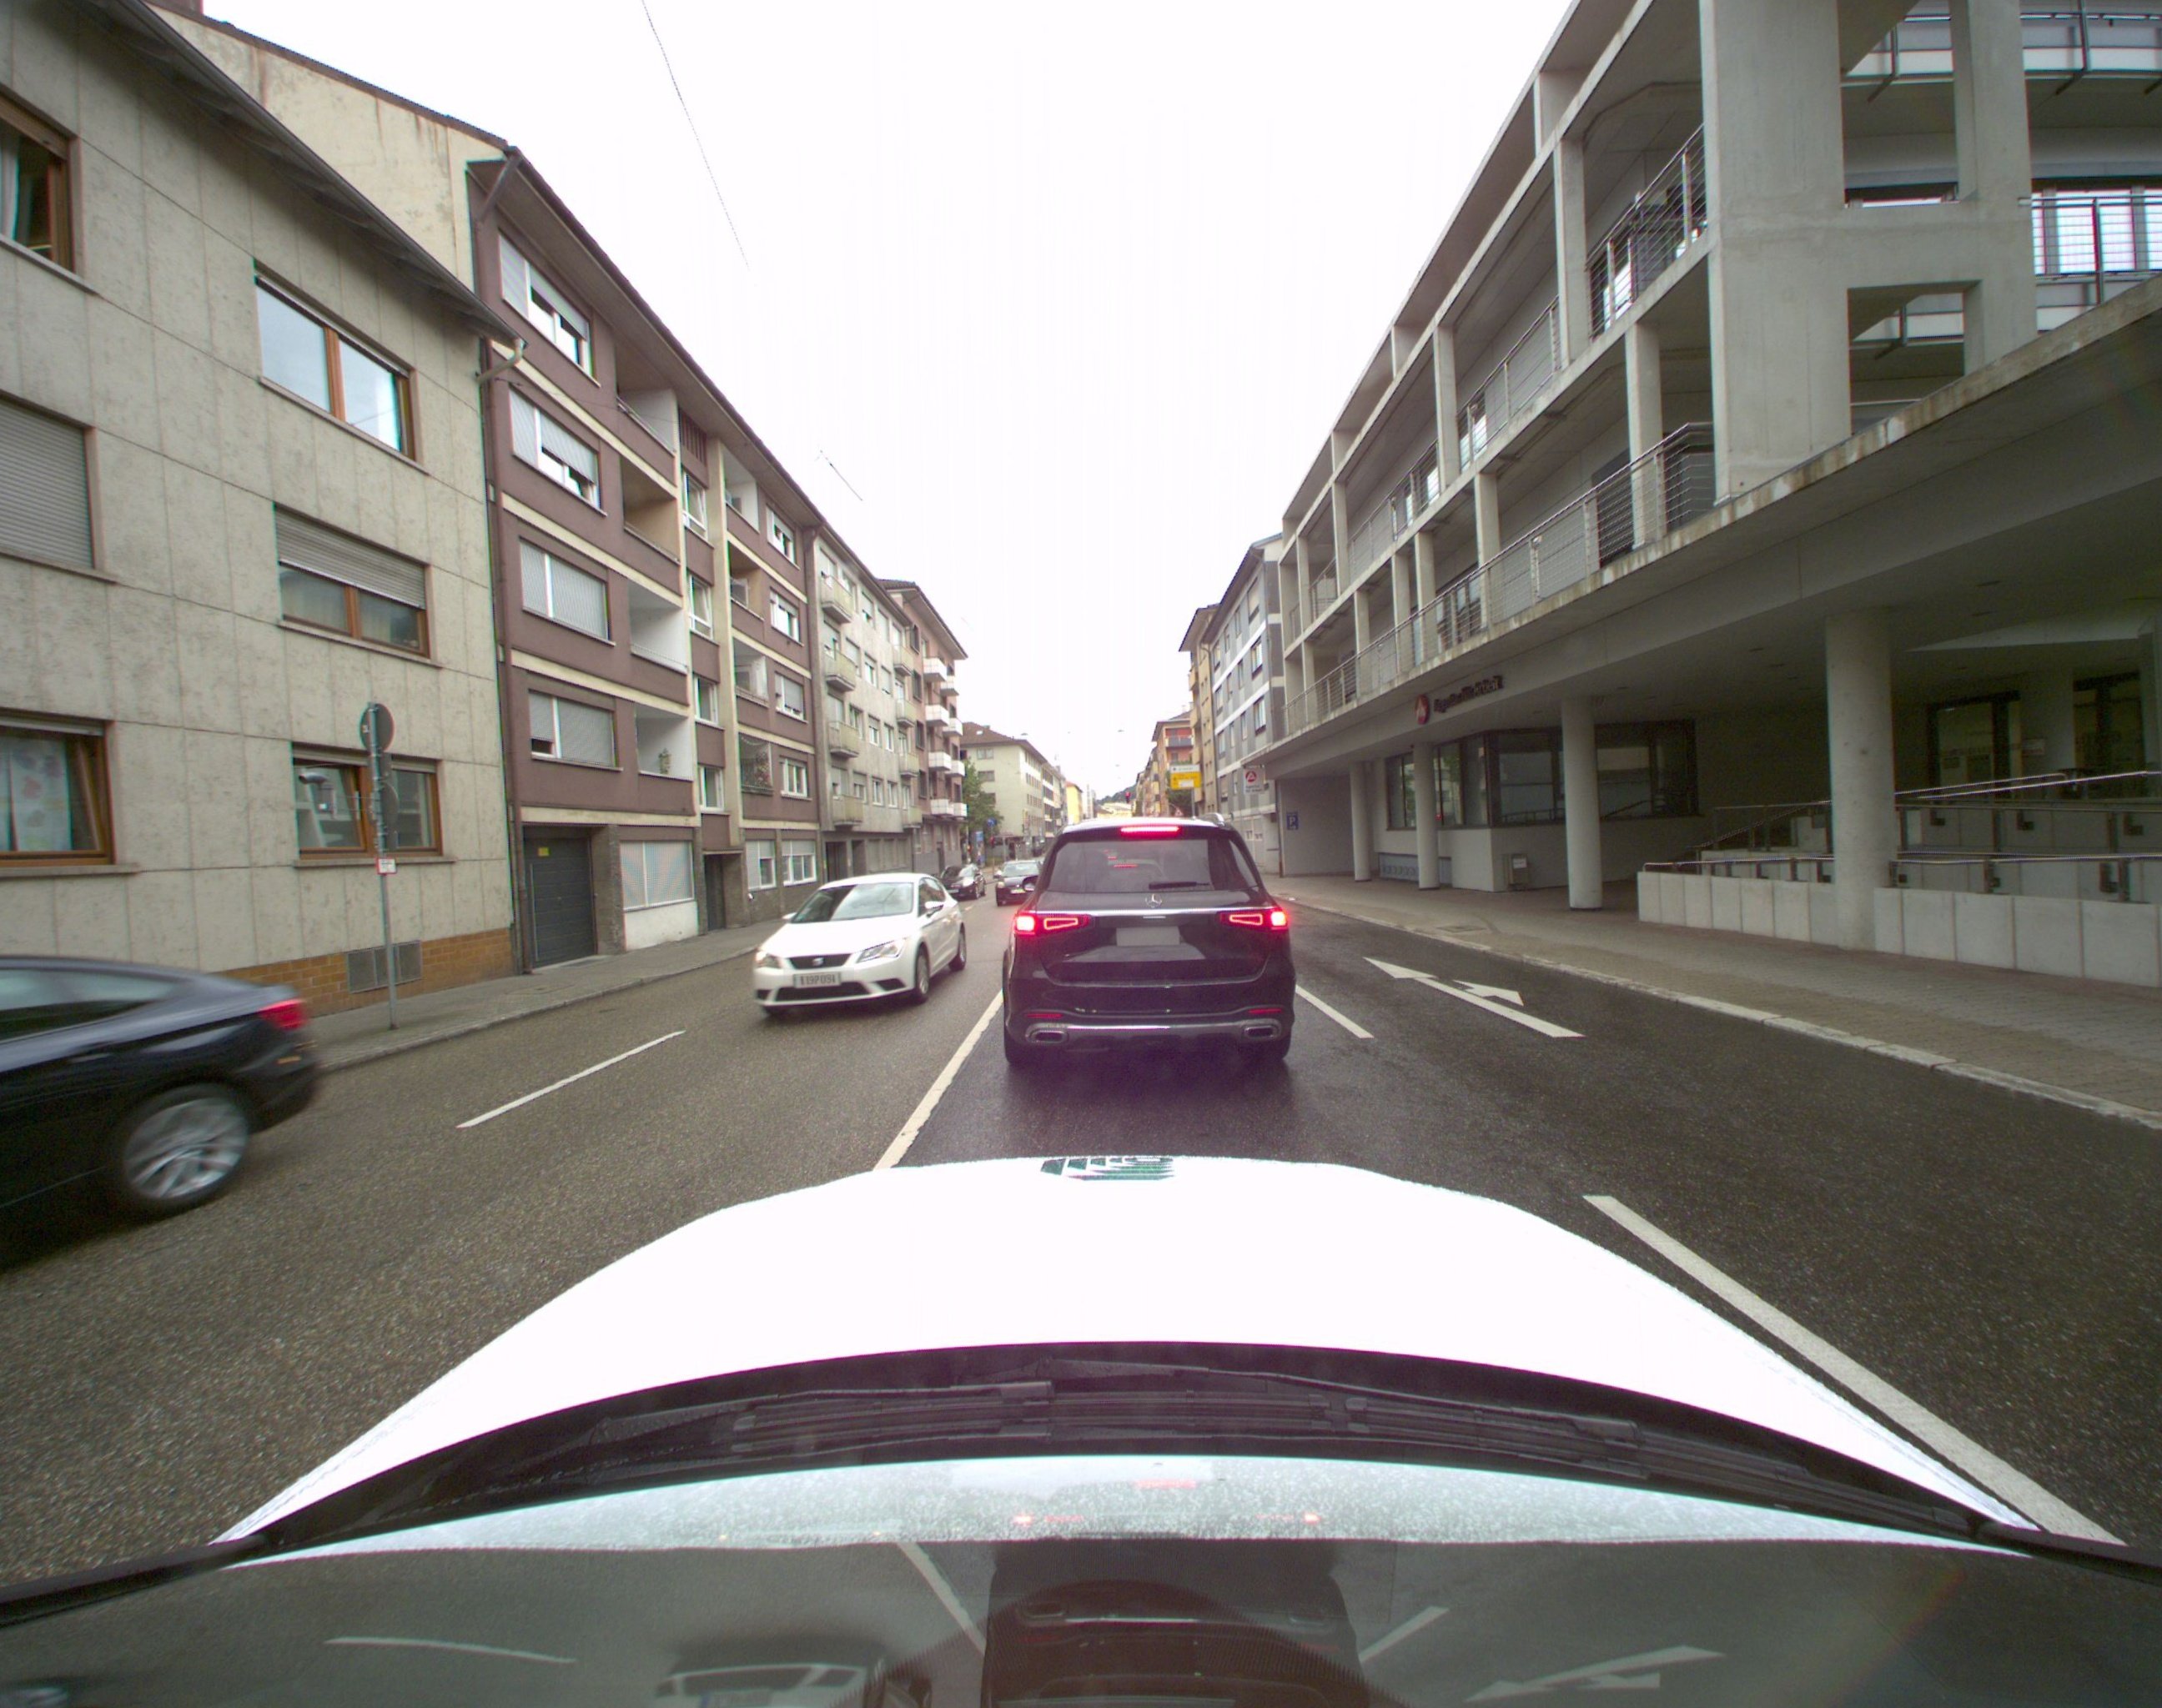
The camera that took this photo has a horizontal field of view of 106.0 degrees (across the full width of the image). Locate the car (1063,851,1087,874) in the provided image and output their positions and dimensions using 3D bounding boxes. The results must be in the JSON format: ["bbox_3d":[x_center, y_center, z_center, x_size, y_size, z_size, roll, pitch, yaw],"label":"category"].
[{"bbox_3d":[-0.464,0.665,64.296,1.689,1.580,4.218,-5,-1,1],"label":"car"}]

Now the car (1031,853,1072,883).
[{"bbox_3d":[-1.500,0.733,42.683,1.688,1.370,4.220,-5,-1,2],"label":"car"}]

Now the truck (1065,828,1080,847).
[{"bbox_3d":[-1.595,-3.141,157.340,2.472,3.046,9.917,-5,-1,0],"label":"truck"}]

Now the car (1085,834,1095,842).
[{"bbox_3d":[1.673,-2.977,154.122,1.879,1.264,4.216,-5,-1,0],"label":"car"}]

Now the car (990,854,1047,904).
[{"bbox_3d":[-2.151,0.846,29.084,1.613,1.539,4.216,-5,-1,0],"label":"car"}]

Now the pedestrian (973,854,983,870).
[{"bbox_3d":[-11.553,0.872,91.175,0.641,1.764,0.764,-3,0,-42],"label":"pedestrian"}]

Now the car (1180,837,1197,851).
[{"bbox_3d":[12.482,-1.156,94.506,1.664,1.588,3.334,-3,0,4],"label":"car"}]

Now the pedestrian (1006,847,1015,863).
[{"bbox_3d":[-8.865,0.090,102.368,0.920,1.902,0.706,-3,0,0],"label":"pedestrian"}]

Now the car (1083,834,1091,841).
[{"bbox_3d":[1.458,-3.916,193.939,1.613,1.539,4.216,-5,-1,0],"label":"car"}]

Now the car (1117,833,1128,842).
[{"bbox_3d":[7.709,-3.083,151.814,1.613,1.539,4.216,-5,-1,0],"label":"car"}]

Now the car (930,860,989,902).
[{"bbox_3d":[-5.114,1.095,34.839,1.717,1.473,4.374,-5,0,0],"label":"car"}]

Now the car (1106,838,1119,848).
[{"bbox_3d":[5.097,-1.778,133.687,1.986,1.488,4.002,-4,0,2],"label":"car"}]

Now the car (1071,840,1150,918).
[{"bbox_3d":[0.671,0.591,20.926,1.746,1.731,4.216,-3,-1,0],"label":"car"}]

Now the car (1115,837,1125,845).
[{"bbox_3d":[8.051,-2.721,167.843,1.879,1.372,4.216,-5,-1,0],"label":"car"}]

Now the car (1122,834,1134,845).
[{"bbox_3d":[7.747,-2.418,133.410,1.613,1.539,4.216,-5,-1,0],"label":"car"}]

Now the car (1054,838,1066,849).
[{"bbox_3d":[-3.382,-1.679,131.916,1.613,1.539,4.216,-5,-1,0],"label":"car"}]

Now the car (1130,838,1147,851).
[{"bbox_3d":[6.856,-1.126,97.922,1.613,1.387,4.216,-5,-1,0],"label":"car"}]

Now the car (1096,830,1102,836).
[{"bbox_3d":[5.554,-6.332,250.470,1.613,1.539,4.216,-5,-1,0],"label":"car"}]

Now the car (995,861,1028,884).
[{"bbox_3d":[-4.697,1.213,55.652,1.689,1.370,4.366,-5,-1,0],"label":"car"}]

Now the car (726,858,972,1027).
[{"bbox_3d":[-2.581,0.898,10.142,1.738,1.539,4.053,-5,-1,1],"label":"car"}]

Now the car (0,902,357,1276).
[{"bbox_3d":[-5.592,1.153,2.998,1.689,1.539,4.436,-7,-1,1],"label":"car"}]

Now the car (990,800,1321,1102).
[{"bbox_3d":[0.514,0.605,7.105,1.977,1.805,4.391,0,-1,2],"label":"car"}]
